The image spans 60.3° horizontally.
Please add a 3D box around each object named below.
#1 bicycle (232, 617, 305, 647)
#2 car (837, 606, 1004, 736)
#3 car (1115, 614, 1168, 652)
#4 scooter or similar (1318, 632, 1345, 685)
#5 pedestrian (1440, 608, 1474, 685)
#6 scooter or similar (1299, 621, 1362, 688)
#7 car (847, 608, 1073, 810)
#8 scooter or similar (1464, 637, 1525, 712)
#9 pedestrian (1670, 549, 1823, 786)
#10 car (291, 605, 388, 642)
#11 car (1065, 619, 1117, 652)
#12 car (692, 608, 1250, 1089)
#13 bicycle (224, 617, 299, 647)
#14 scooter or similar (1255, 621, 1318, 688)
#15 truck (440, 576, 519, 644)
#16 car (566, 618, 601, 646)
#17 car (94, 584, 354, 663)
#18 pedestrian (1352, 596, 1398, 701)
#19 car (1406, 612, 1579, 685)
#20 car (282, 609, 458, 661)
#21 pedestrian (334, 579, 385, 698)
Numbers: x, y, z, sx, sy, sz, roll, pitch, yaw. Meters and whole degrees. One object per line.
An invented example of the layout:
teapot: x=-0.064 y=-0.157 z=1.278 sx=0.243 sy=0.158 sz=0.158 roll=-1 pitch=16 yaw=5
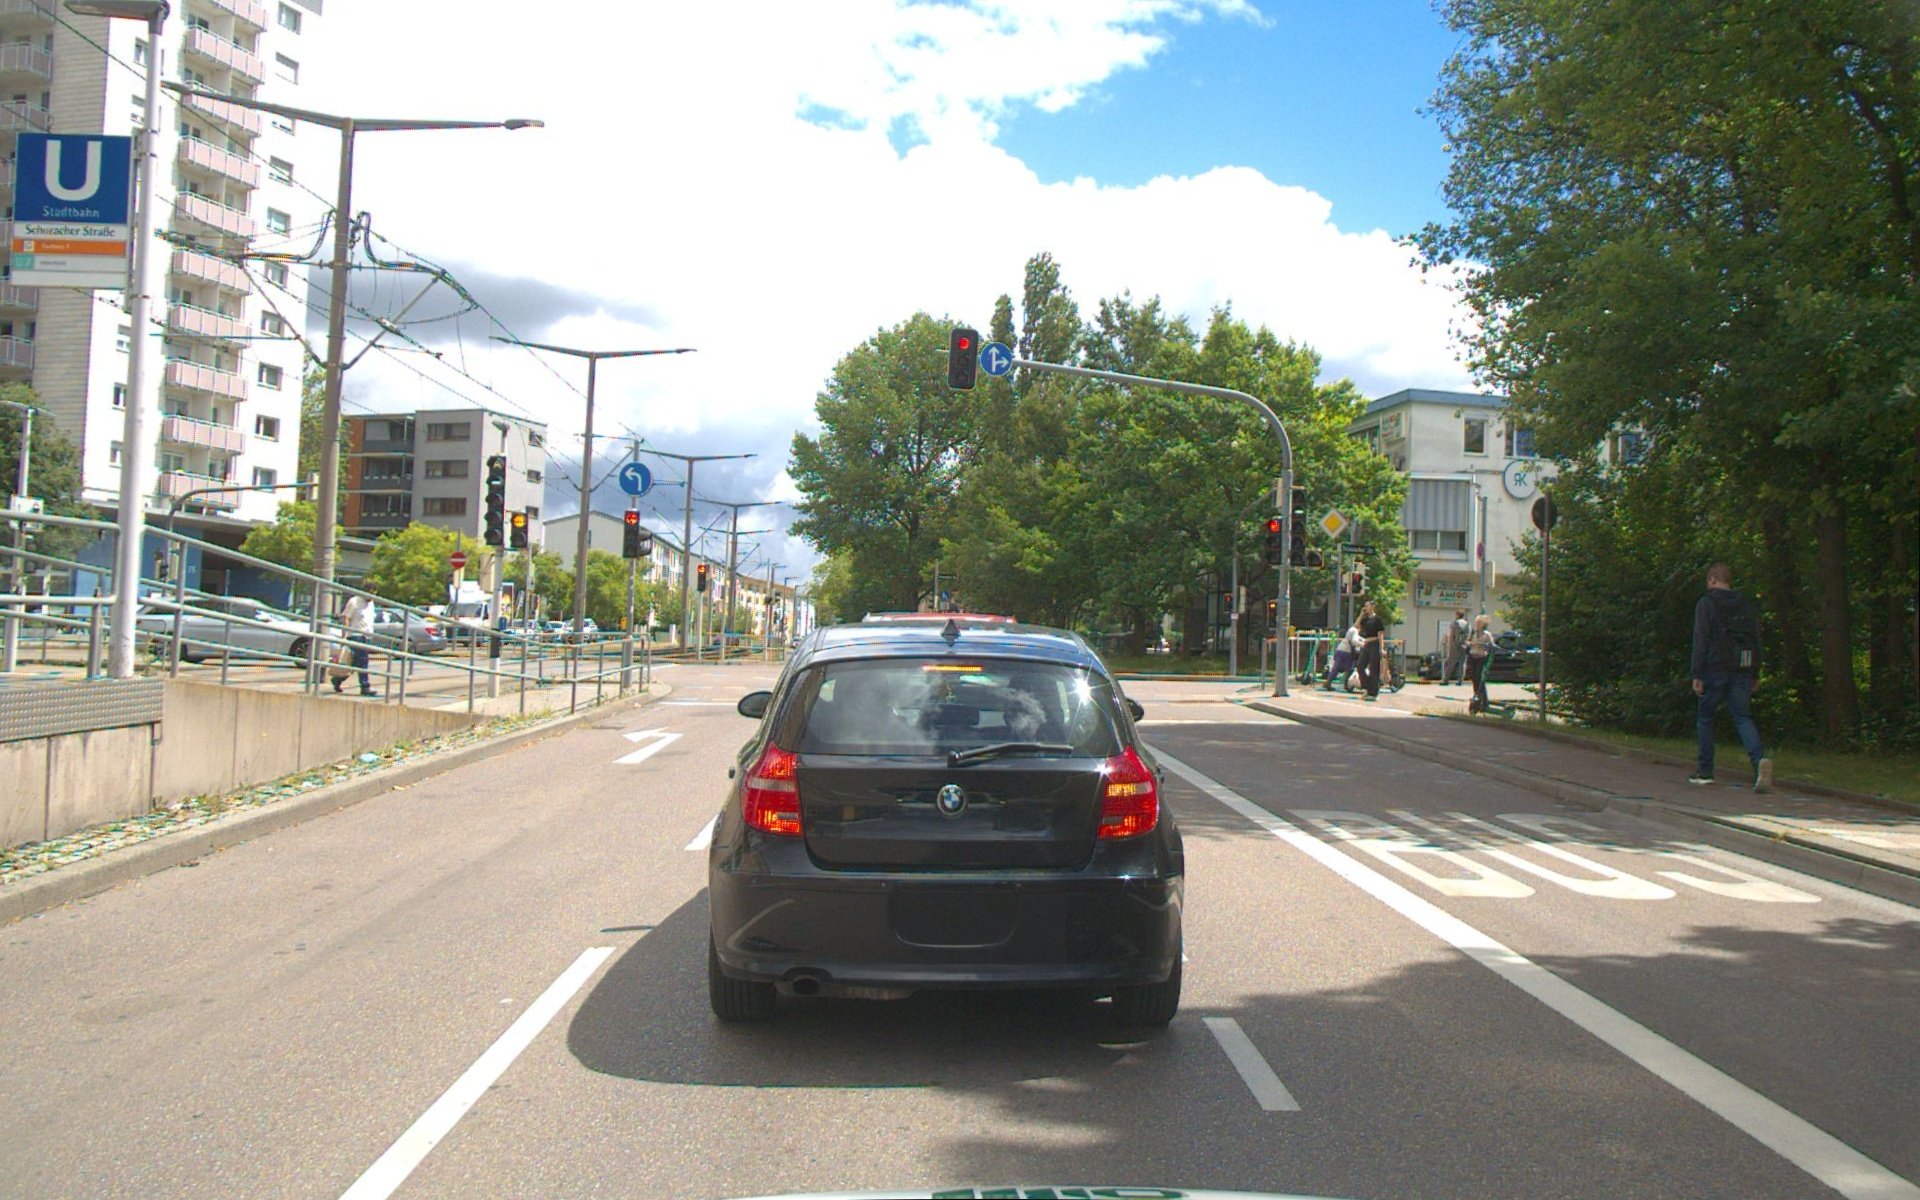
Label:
bicycle: x=-26.715 y=1.238 z=63.918 sx=2.528 sy=1.026 sz=0.748 roll=3 pitch=-3 yaw=-29
car: x=-0.480 y=0.817 z=21.077 sx=1.862 sy=1.447 sz=4.538 roll=1 pitch=0 yaw=-1
car: x=9.408 y=1.701 z=85.959 sx=1.694 sy=1.904 sz=3.991 roll=2 pitch=-1 yaw=-9
scooter or similar: x=7.867 y=1.227 z=34.996 sx=0.536 sy=1.082 sz=1.263 roll=1 pitch=0 yaw=13
pedestrian: x=11.448 y=1.060 z=38.092 sx=0.644 sy=1.743 sz=0.461 roll=1 pitch=-1 yaw=29
scooter or similar: x=7.394 y=1.089 z=33.035 sx=1.126 sy=1.294 sz=0.555 roll=1 pitch=-1 yaw=4
car: x=-0.023 y=0.792 z=13.614 sx=1.605 sy=1.424 sz=3.419 roll=1 pitch=0 yaw=-1
scooter or similar: x=9.265 y=1.289 z=28.688 sx=0.872 sy=1.252 sz=0.454 roll=2 pitch=-1 yaw=-6
pedestrian: x=6.616 y=0.552 z=13.958 sx=0.779 sy=1.909 sz=1.013 roll=1 pitch=-1 yaw=-1
car: x=-28.966 y=1.093 z=77.252 sx=3.893 sy=1.676 sz=1.630 roll=2 pitch=-1 yaw=-44
car: x=7.168 y=1.930 z=90.758 sx=1.830 sy=1.691 sz=3.988 roll=2 pitch=-1 yaw=-12
car: x=0.013 y=0.762 z=6.712 sx=1.666 sy=1.424 sz=3.419 roll=1 pitch=0 yaw=-1
bicycle: x=-26.542 y=1.236 z=62.820 sx=2.528 sy=1.026 sz=0.748 roll=3 pitch=-3 yaw=-29
scooter or similar: x=6.286 y=1.048 z=31.853 sx=1.087 sy=1.257 sz=0.539 roll=1 pitch=-1 yaw=1
truck: x=-23.660 y=0.515 z=81.674 sx=2.237 sy=3.172 sz=7.311 roll=2 pitch=-1 yaw=-5
car: x=-24.825 y=2.082 z=109.149 sx=1.559 sy=1.787 sz=3.773 roll=2 pitch=-1 yaw=-2
car: x=-15.811 y=0.507 z=35.758 sx=4.701 sy=1.549 sz=1.996 roll=1 pitch=-1 yaw=-9
pedestrian: x=7.643 y=0.883 z=30.464 sx=0.626 sy=1.909 sz=0.515 roll=2 pitch=-1 yaw=-18
car: x=15.671 y=1.390 z=48.771 sx=4.451 sy=2.049 sz=1.996 roll=0 pitch=0 yaw=-9
car: x=-16.486 y=0.976 z=46.394 sx=4.360 sy=1.352 sz=1.676 roll=1 pitch=0 yaw=-8
pedestrian: x=-9.103 y=0.579 z=25.083 sx=0.677 sy=1.764 sz=0.683 roll=1 pitch=-1 yaw=-21
